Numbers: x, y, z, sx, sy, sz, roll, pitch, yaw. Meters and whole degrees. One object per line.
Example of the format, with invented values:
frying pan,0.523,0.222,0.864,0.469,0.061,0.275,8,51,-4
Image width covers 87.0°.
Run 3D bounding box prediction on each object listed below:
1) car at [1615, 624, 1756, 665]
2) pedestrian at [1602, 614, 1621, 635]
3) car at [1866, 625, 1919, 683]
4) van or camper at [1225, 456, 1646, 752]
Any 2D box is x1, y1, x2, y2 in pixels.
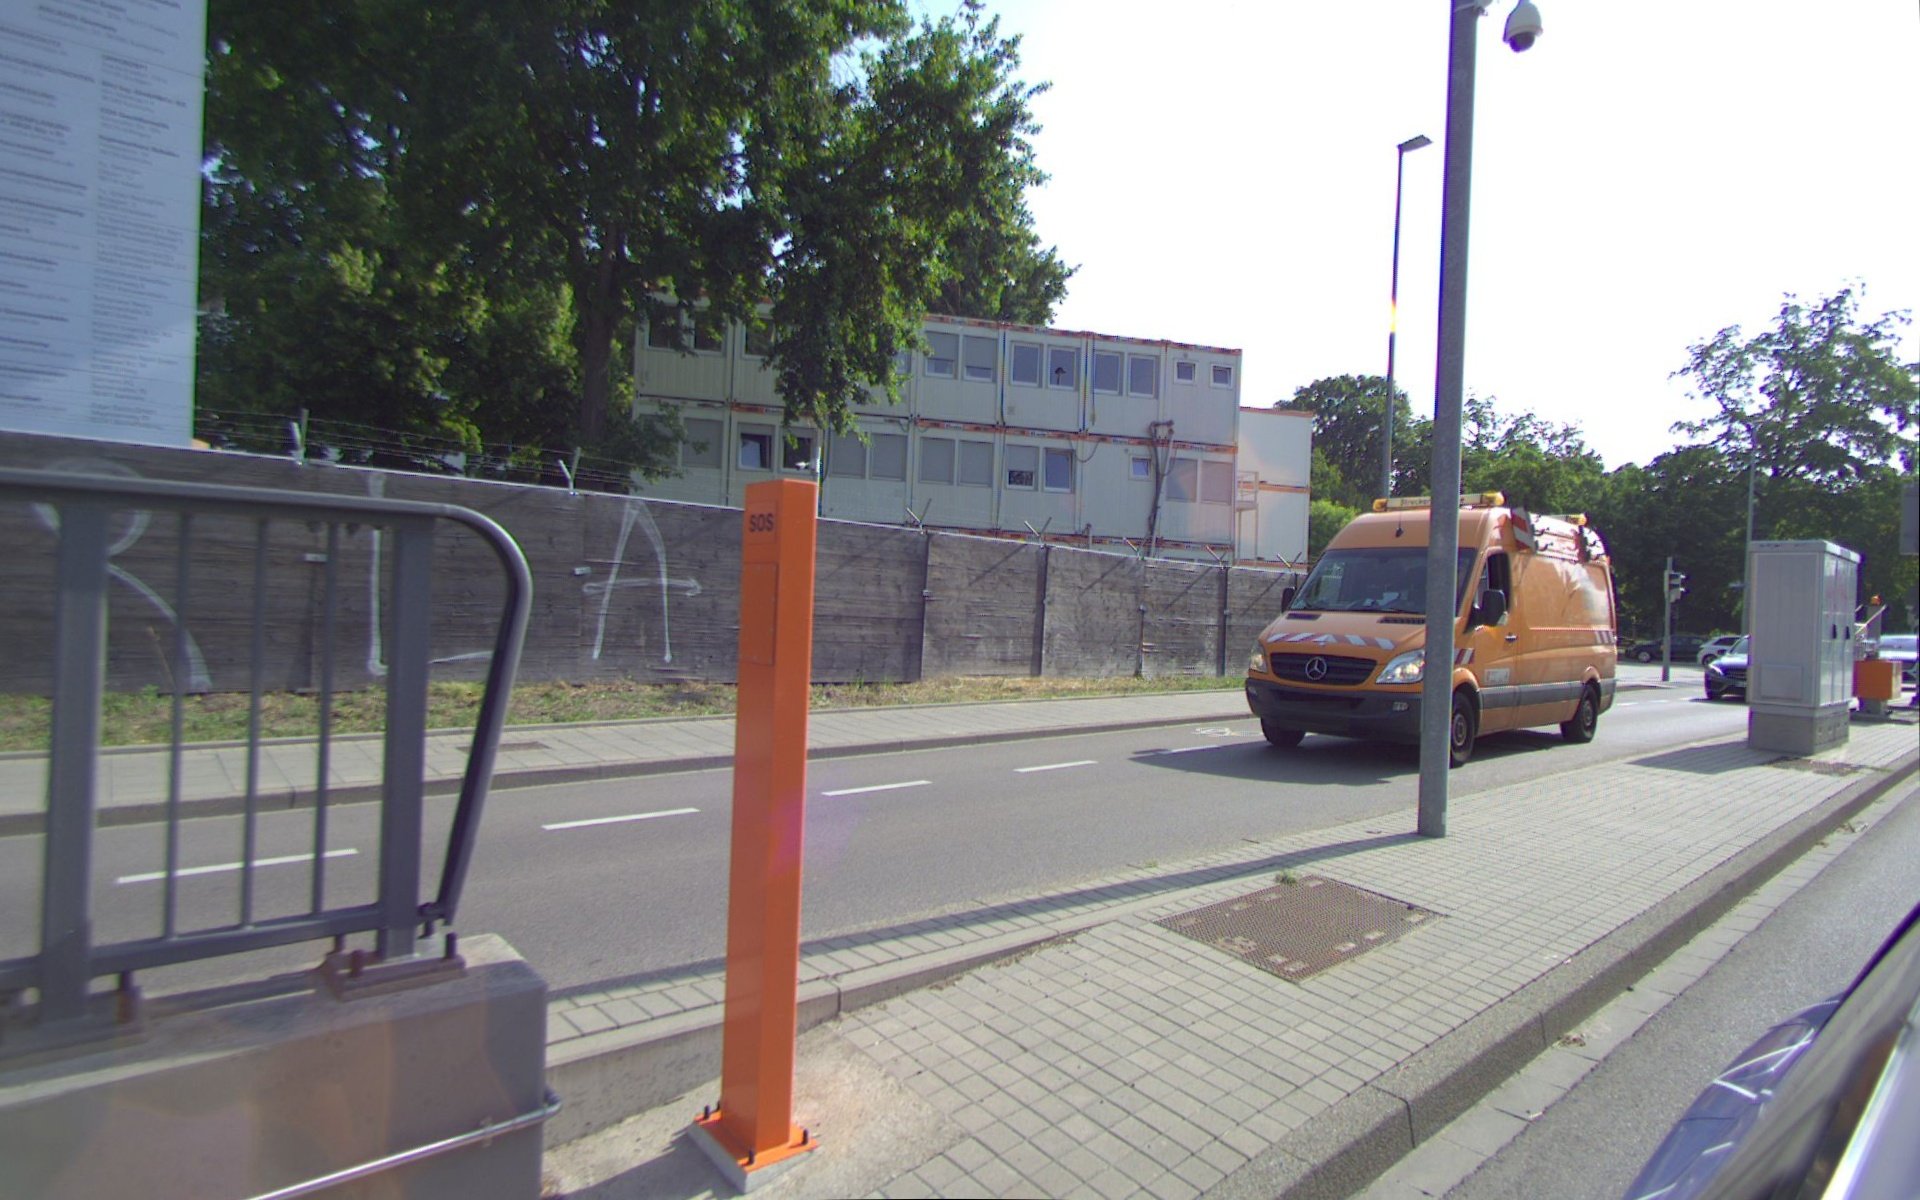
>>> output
car,29.666,1.807,41.531,1.958,1.423,4.291,2,0,-22
pedestrian,59.941,2.262,93.066,1.048,1.854,0.987,2,0,-9
car,28.294,1.568,29.747,4.173,1.591,1.896,2,-1,-39
van or camper,5.549,0.133,11.275,5.953,2.504,1.989,3,-2,-41
